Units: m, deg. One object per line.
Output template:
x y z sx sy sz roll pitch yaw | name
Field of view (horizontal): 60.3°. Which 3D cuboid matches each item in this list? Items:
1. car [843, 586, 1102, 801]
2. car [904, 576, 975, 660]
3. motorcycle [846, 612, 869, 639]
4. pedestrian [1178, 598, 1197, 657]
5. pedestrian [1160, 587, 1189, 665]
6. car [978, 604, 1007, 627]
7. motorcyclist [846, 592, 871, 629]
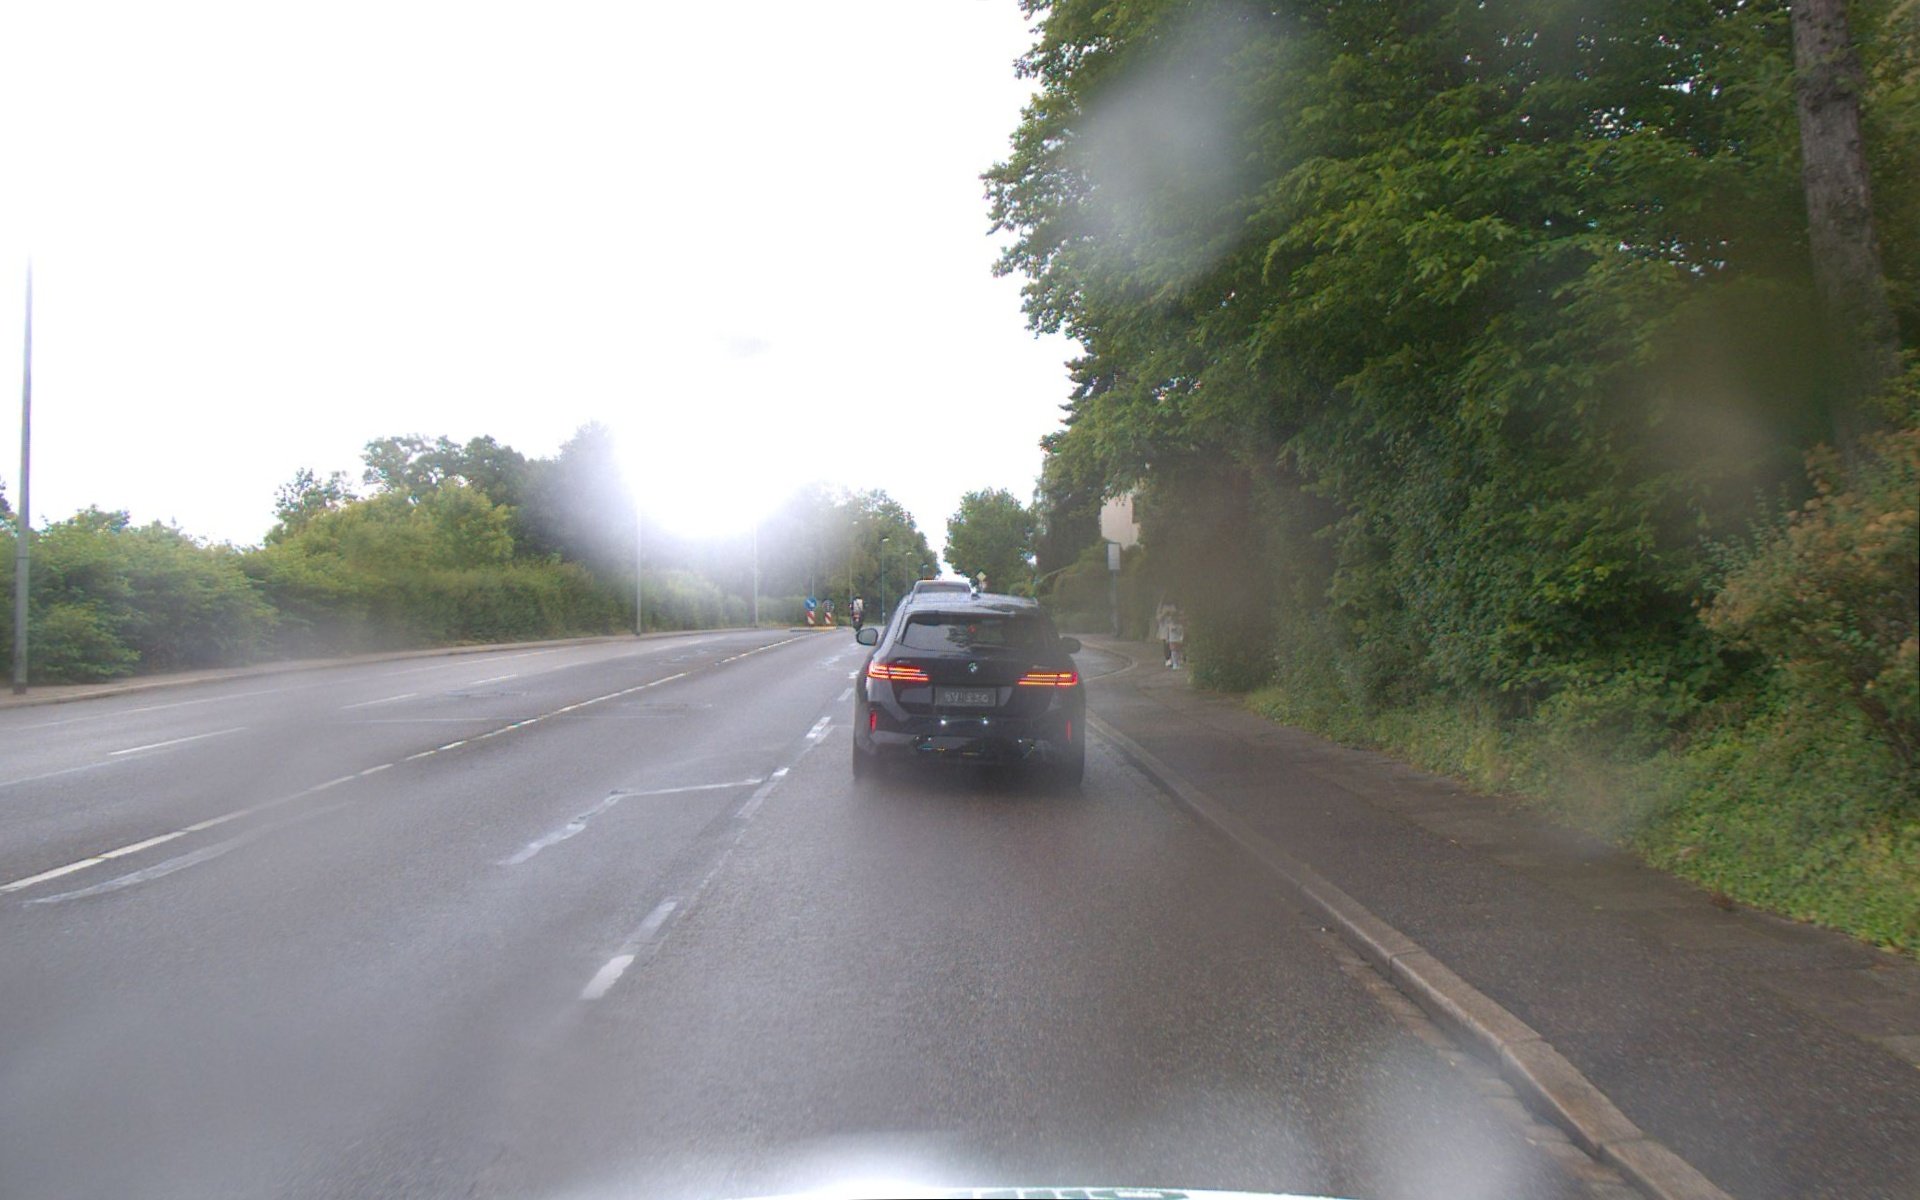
0.105 0.696 14.186 1.858 1.515 4.000 2 0 0 | car
-0.486 0.397 39.320 1.596 1.865 3.999 -1 0 -1 | car
-4.536 1.111 73.544 0.858 1.144 2.740 2 -1 -1 | motorcycle
4.472 0.540 32.540 0.359 1.166 0.366 0 0 7 | pedestrian
4.515 0.531 34.758 0.597 1.621 0.647 0 0 7 | pedestrian
2.244 1.032 111.928 1.895 1.467 4.409 0 0 2 | car
-4.500 0.474 73.536 1.018 1.595 0.855 2 -1 -1 | motorcyclist
